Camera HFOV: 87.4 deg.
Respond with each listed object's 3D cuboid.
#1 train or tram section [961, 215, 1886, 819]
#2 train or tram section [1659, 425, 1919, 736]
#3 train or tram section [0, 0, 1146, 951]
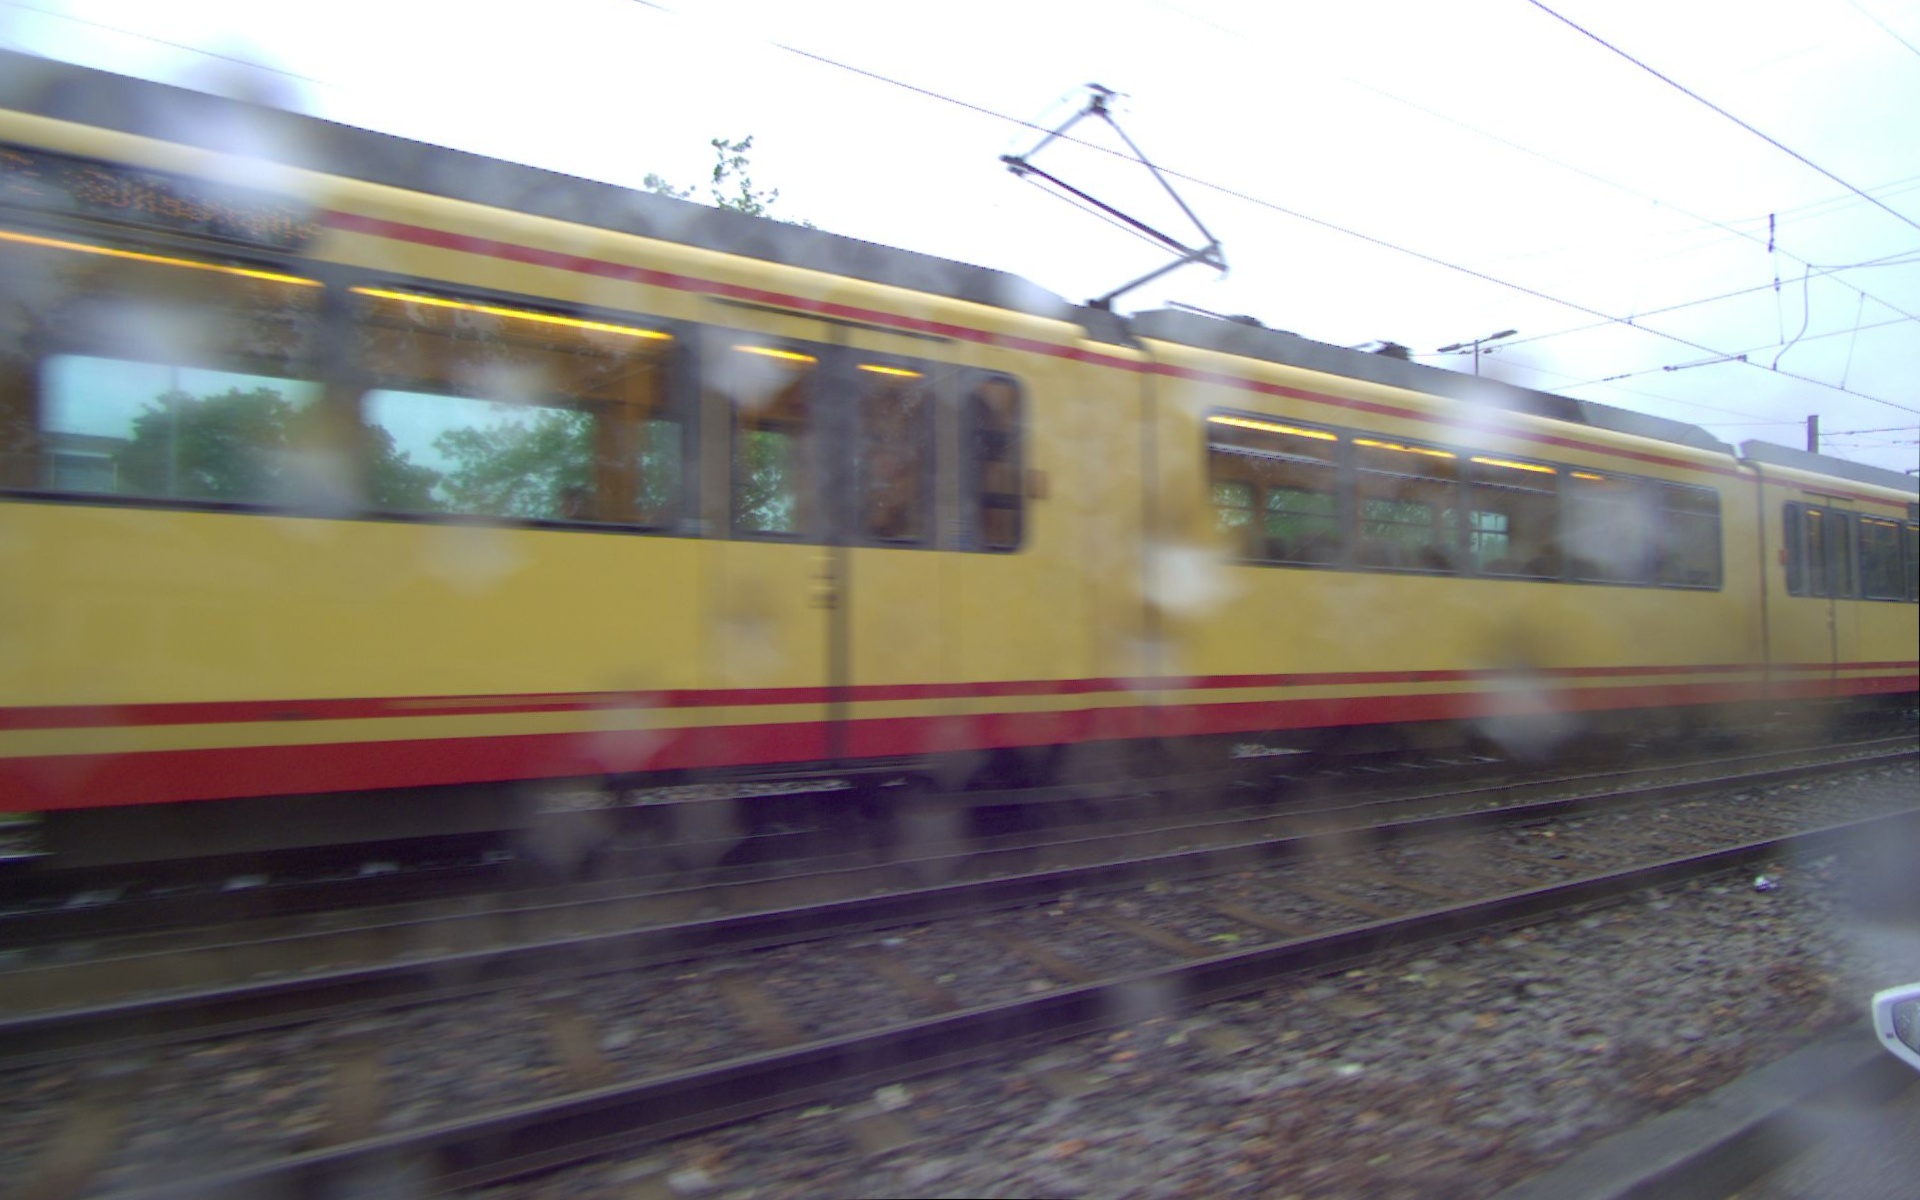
[{"bbox_3d":[6.271,-0.401,11.491,12.868,4.204,2.793,2,-1,-31],"label":"train or tram section"},{"bbox_3d":[16.243,-0.085,17.345,10.148,4.204,2.798,2,-1,-30],"label":"train or tram section"},{"bbox_3d":[-4.992,-0.748,4.778,12.866,4.205,2.793,1,-1,-30],"label":"train or tram section"}]
